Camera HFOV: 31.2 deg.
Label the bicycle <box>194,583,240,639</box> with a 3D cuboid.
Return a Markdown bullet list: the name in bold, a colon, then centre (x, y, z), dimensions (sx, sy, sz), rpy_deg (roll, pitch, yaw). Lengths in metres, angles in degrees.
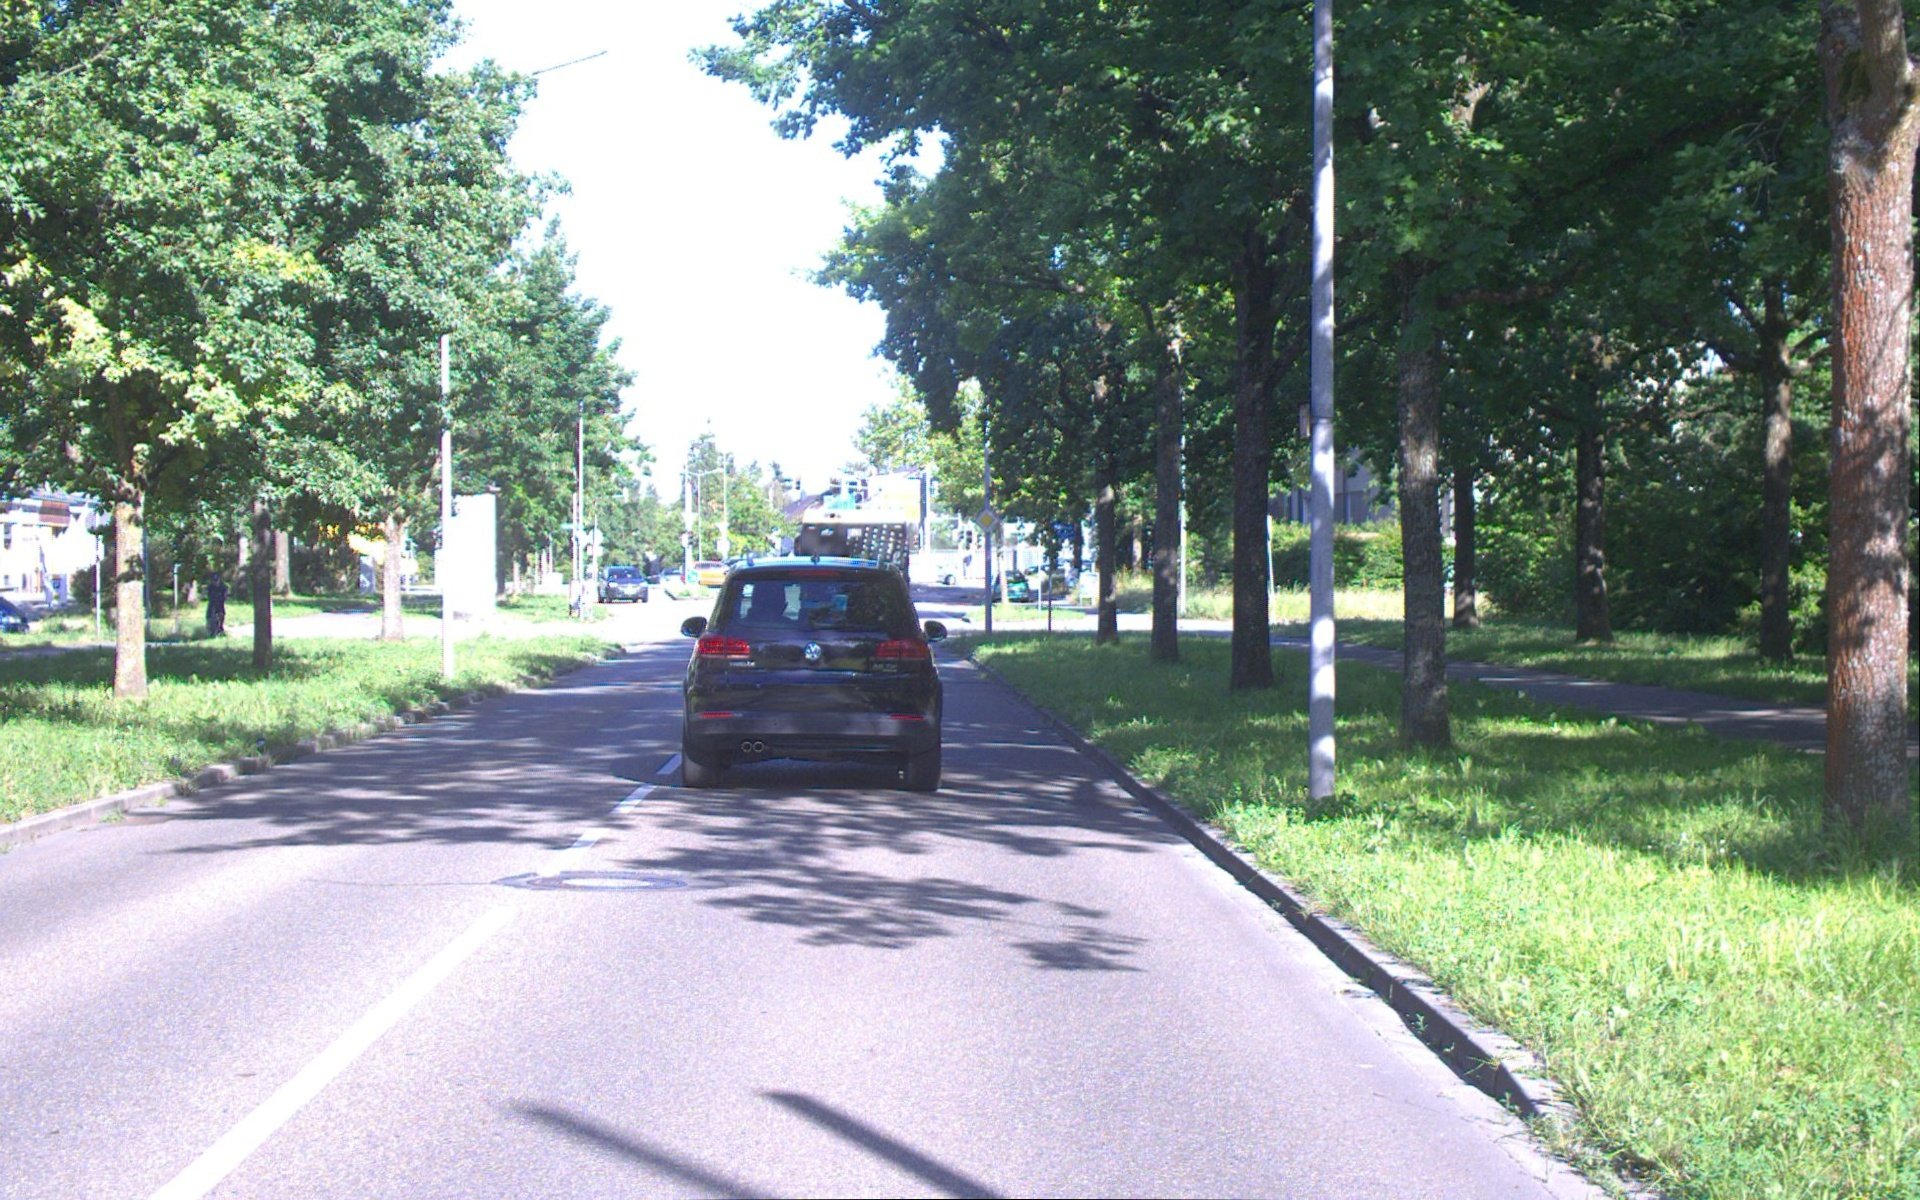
- **bicycle**: centre (-18.167, 0.253, 84.045), dimensions (0.717, 1.317, 1.992), rpy_deg (2, 0, -2)

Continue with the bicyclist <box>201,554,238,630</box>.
- **bicyclist**: centre (-18.107, -0.191, 84.068), dimensions (0.686, 1.825, 0.934), rpy_deg (2, 0, -2)

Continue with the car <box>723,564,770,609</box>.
- **car**: centre (-10.122, -0.648, 162.628), dimensions (1.993, 2.007, 4.001), rpy_deg (2, 0, -6)

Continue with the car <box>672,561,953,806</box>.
- **car**: centre (-1.012, 0.552, 25.470), dimensions (1.782, 1.628, 4.000), rpy_deg (2, 0, 1)

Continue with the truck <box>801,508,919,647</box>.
- **truck**: centre (-2.367, -0.566, 83.653), dimensions (2.512, 3.232, 8.152), rpy_deg (0, 1, 1)

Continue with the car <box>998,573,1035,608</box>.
- **car**: centre (2.361, -0.405, 144.235), dimensions (1.452, 1.401, 2.856), rpy_deg (2, 0, 0)

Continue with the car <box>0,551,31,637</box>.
- **car**: centre (-25.121, -0.209, 81.545), dimensions (5.788, 2.007, 2.001), rpy_deg (2, 0, -11)

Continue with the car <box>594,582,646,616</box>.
- **car**: centre (-14.713, -0.065, 148.981), dimensions (1.993, 1.450, 4.000), rpy_deg (0, 1, -2)
